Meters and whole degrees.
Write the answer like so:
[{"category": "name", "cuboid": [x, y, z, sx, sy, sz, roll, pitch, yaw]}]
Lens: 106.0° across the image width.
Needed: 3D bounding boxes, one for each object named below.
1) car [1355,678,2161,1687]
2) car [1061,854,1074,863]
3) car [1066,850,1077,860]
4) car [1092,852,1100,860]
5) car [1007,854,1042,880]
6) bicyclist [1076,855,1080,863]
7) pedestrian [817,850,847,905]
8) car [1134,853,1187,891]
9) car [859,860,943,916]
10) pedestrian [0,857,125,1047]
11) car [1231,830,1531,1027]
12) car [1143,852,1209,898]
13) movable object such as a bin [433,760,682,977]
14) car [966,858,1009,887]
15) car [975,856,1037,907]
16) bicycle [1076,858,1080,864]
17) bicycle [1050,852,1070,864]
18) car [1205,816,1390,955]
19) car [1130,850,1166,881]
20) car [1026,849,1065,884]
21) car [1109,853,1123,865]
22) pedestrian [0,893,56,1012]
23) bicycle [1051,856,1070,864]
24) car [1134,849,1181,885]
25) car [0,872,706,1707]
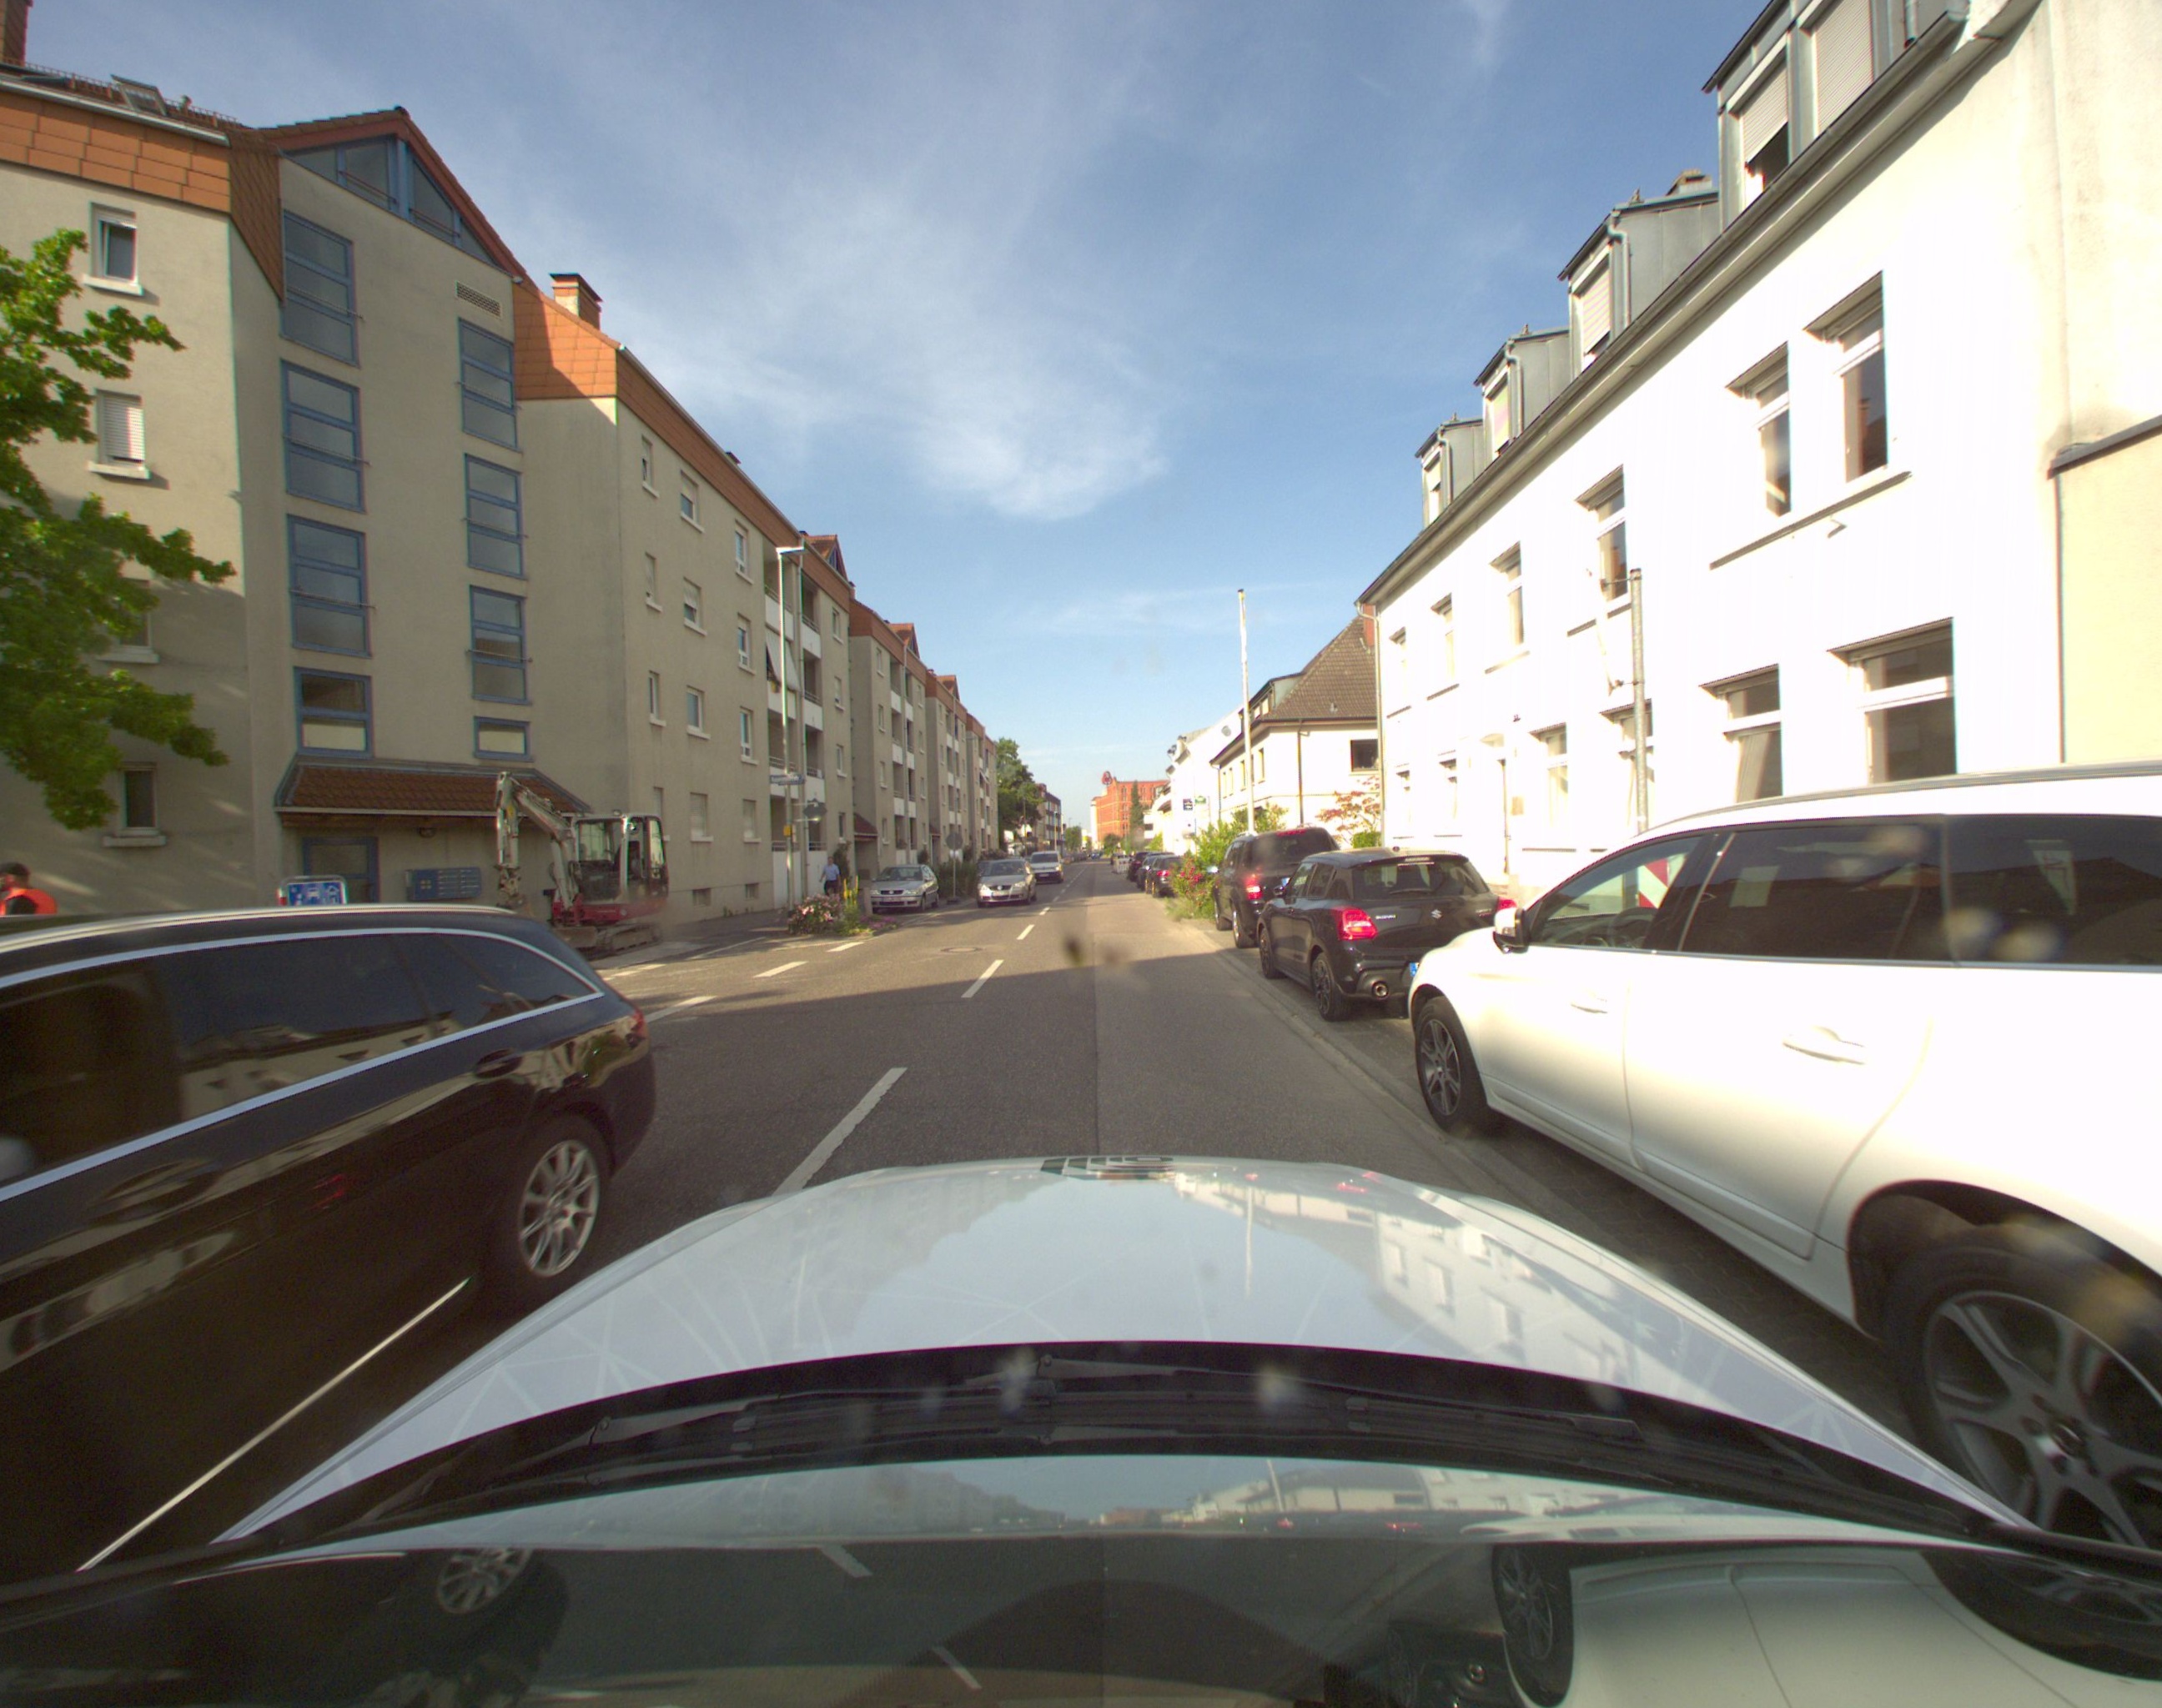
[{"category": "car", "cuboid": [2.679, 0.488, 2.950, 1.806, 1.683, 4.477, -4, 0, 1]}, {"category": "car", "cuboid": [-2.185, 0.717, 134.346, 1.833, 1.464, 3.586, -2, 0, 2]}, {"category": "car", "cuboid": [-1.797, 0.278, 160.289, 1.986, 1.882, 4.001, -2, 0, 2]}, {"category": "car", "cuboid": [3.657, 0.465, 195.055, 1.757, 1.616, 4.001, -2, 0, 1]}, {"category": "car", "cuboid": [-3.522, 0.771, 51.457, 1.720, 1.555, 3.968, -1, 0, 3]}, {"category": "bicyclist", "cuboid": [-0.562, 0.822, 140.130, 0.588, 1.442, 0.751, -1, 0, 1]}, {"category": "pedestrian", "cuboid": [-8.346, 0.769, 27.313, 0.716, 1.818, 0.745, -1, 0, 1]}, {"category": "car", "cuboid": [3.285, 0.692, 34.353, 1.823, 1.420, 4.610, -2, 0, 1]}, {"category": "car", "cuboid": [-5.319, 0.960, 24.495, 1.635, 1.395, 3.670, -4, 0, -1]}, {"category": "pedestrian", "cuboid": [-9.845, 0.870, 7.592, 0.665, 1.664, 0.994, -1, 0, 1]}, {"category": "car", "cuboid": [2.875, 0.616, 8.966, 1.583, 1.528, 4.614, -3, 0, 1]}, {"category": "car", "cuboid": [3.248, 0.667, 28.660, 1.773, 1.420, 4.496, -2, 0, 0]}, {"category": "movable object such as a bin", "cuboid": [-8.668, 0.196, 13.956, 1.643, 3.138, 3.899, -2, 1, -1]}, {"category": "car", "cuboid": [-4.814, 0.917, 42.362, 1.680, 1.405, 4.084, -1, 0, 0]}, {"category": "car", "cuboid": [-2.351, 0.835, 26.372, 1.612, 1.455, 3.685, -2, 0, 0]}, {"category": "bicycle", "cuboid": [-0.554, 1.160, 140.104, 0.606, 0.942, 1.811, -2, 0, 1]}, {"category": "bicycle", "cuboid": [-3.235, 0.643, 124.513, 2.907, 1.777, 1.202, -2, 0, 2]}, {"category": "car", "cuboid": [3.403, 0.422, 13.792, 2.067, 1.856, 4.614, -3, 1, 3]}, {"category": "car", "cuboid": [3.659, 0.656, 45.049, 1.822, 1.630, 4.465, 1, -1, 2]}, {"category": "car", "cuboid": [-1.939, 0.661, 45.326, 1.916, 1.767, 4.337, -2, 0, 0]}, {"category": "car", "cuboid": [4.646, 0.645, 108.922, 1.852, 1.472, 4.000, 0, 0, 1]}, {"category": "pedestrian", "cuboid": [-10.472, 0.944, 7.816, 0.497, 1.100, 0.597, -1, 0, 1]}, {"category": "bicycle", "cuboid": [-3.181, 0.916, 126.284, 2.762, 1.144, 1.144, -2, 0, 2]}, {"category": "car", "cuboid": [3.690, 0.595, 39.736, 1.824, 1.560, 4.316, -2, 0, 0]}, {"category": "car", "cuboid": [-2.684, 0.832, 1.673, 1.824, 1.420, 4.208, -2, 0, 0]}]
